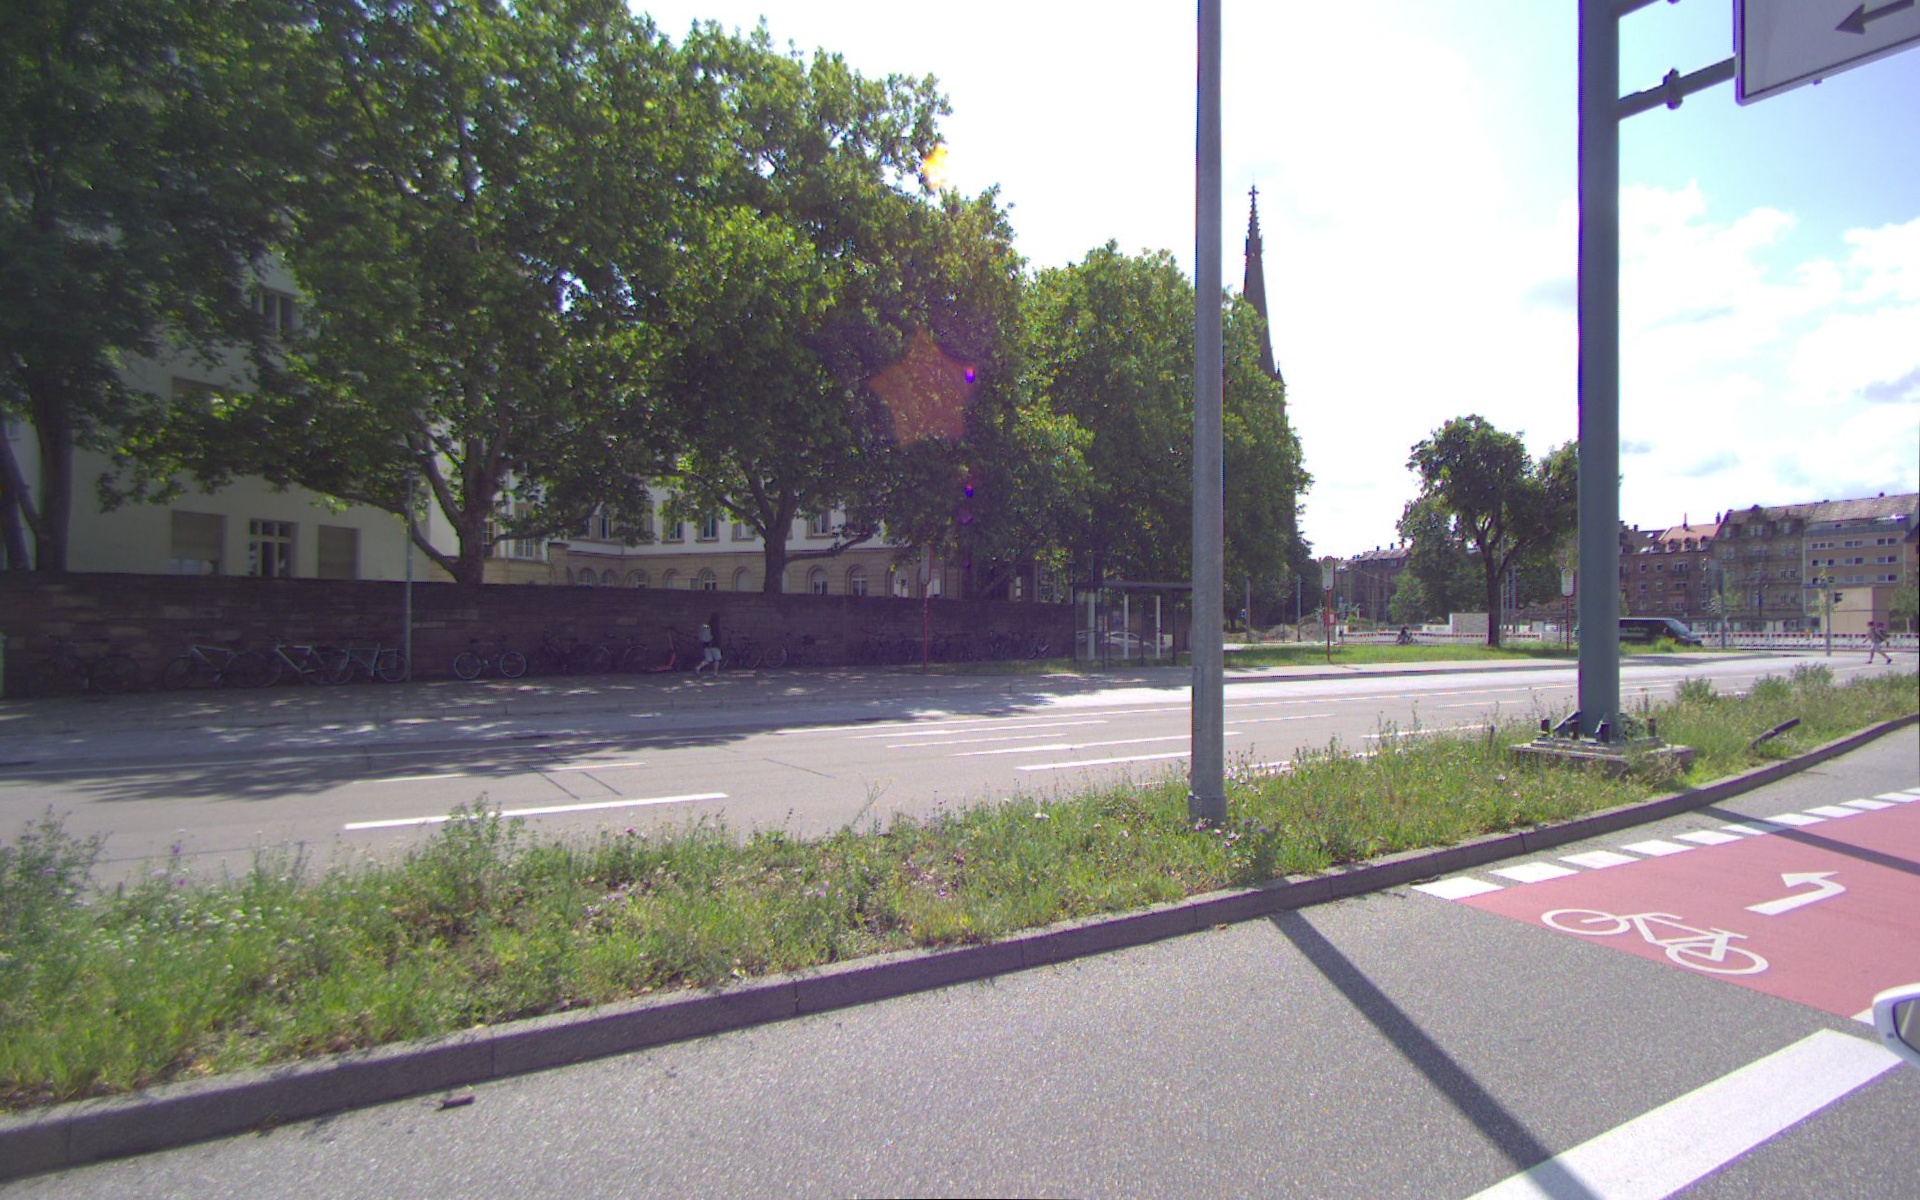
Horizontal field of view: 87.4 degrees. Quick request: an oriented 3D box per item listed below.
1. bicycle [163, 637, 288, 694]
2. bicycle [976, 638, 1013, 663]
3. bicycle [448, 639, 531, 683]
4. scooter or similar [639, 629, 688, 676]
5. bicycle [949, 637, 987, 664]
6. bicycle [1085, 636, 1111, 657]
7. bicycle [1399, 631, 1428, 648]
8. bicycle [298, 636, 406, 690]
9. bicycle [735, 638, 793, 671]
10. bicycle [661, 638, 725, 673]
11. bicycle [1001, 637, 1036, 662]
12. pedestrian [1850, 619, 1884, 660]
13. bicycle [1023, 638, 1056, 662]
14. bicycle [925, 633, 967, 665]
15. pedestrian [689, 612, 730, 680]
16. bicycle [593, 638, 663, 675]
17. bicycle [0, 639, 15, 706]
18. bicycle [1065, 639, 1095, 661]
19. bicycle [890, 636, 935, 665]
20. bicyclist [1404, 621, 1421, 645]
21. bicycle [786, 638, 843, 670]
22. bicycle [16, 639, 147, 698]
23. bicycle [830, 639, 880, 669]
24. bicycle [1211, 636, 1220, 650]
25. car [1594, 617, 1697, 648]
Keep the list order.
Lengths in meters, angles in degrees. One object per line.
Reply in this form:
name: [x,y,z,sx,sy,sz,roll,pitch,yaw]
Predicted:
bicycle: [-14.496,1.273,19.873,1.936,1.061,0.538,1,-1,-44]
bicycle: [1.327,1.911,38.295,0.537,0.914,1.659,0,-1,38]
bicycle: [-10.857,1.383,23.189,1.654,0.962,0.538,1,-1,-44]
scooter or similar: [-7.647,1.343,25.963,0.426,1.199,1.188,-1,-1,37]
bicycle: [0.308,1.847,36.910,0.537,0.914,1.659,0,-1,38]
bicycle: [6.305,2.104,45.924,0.536,0.914,1.661,0,-1,33]
bicycle: [35.765,3.135,79.227,0.599,1.307,2.048,1,-1,-38]
bicycle: [-12.874,1.313,21.310,1.883,1.061,0.538,1,-1,-44]
bicycle: [-5.698,1.577,29.217,0.538,0.914,1.656,-1,-1,43]
bicycle: [-7.254,1.503,27.339,1.654,0.914,0.538,1,-1,-44]
bicycle: [2.311,1.946,39.672,0.537,0.914,1.659,0,-1,38]
pedestrian: [36.094,1.564,39.970,0.859,1.580,0.555,0,-1,24]
bicycle: [3.254,2.033,41.187,0.446,0.914,1.787,0,-1,38]
bicycle: [-0.499,1.710,35.402,0.537,1.065,1.615,0,-1,41]
pedestrian: [-6.204,1.125,24.869,0.607,1.638,0.754,1,0,37]
bicycle: [-8.570,1.448,25.965,1.654,0.914,0.538,2,-2,-44]
bicycle: [-17.335,1.263,17.265,1.583,1.158,0.427,1,-1,-44]
bicycle: [5.277,2.185,44.107,0.537,0.914,1.659,0,-1,38]
bicycle: [-1.617,1.708,34.140,0.537,0.964,1.657,0,-1,41]
bicyclist: [35.716,2.582,79.297,0.588,1.869,1.110,0,-1,-38]
bicycle: [-4.393,1.632,30.400,1.649,0.914,0.498,1,-1,-35]
bicycle: [-16.071,1.237,18.429,1.787,1.021,0.476,1,-1,-41]
bicycle: [-3.332,1.698,31.990,0.538,0.914,1.656,-1,-1,43]
bicycle: [18.160,3.066,71.437,0.534,0.914,1.666,0,-1,10]
car: [42.945,2.008,63.028,1.909,1.904,4.978,1,-1,-34]
